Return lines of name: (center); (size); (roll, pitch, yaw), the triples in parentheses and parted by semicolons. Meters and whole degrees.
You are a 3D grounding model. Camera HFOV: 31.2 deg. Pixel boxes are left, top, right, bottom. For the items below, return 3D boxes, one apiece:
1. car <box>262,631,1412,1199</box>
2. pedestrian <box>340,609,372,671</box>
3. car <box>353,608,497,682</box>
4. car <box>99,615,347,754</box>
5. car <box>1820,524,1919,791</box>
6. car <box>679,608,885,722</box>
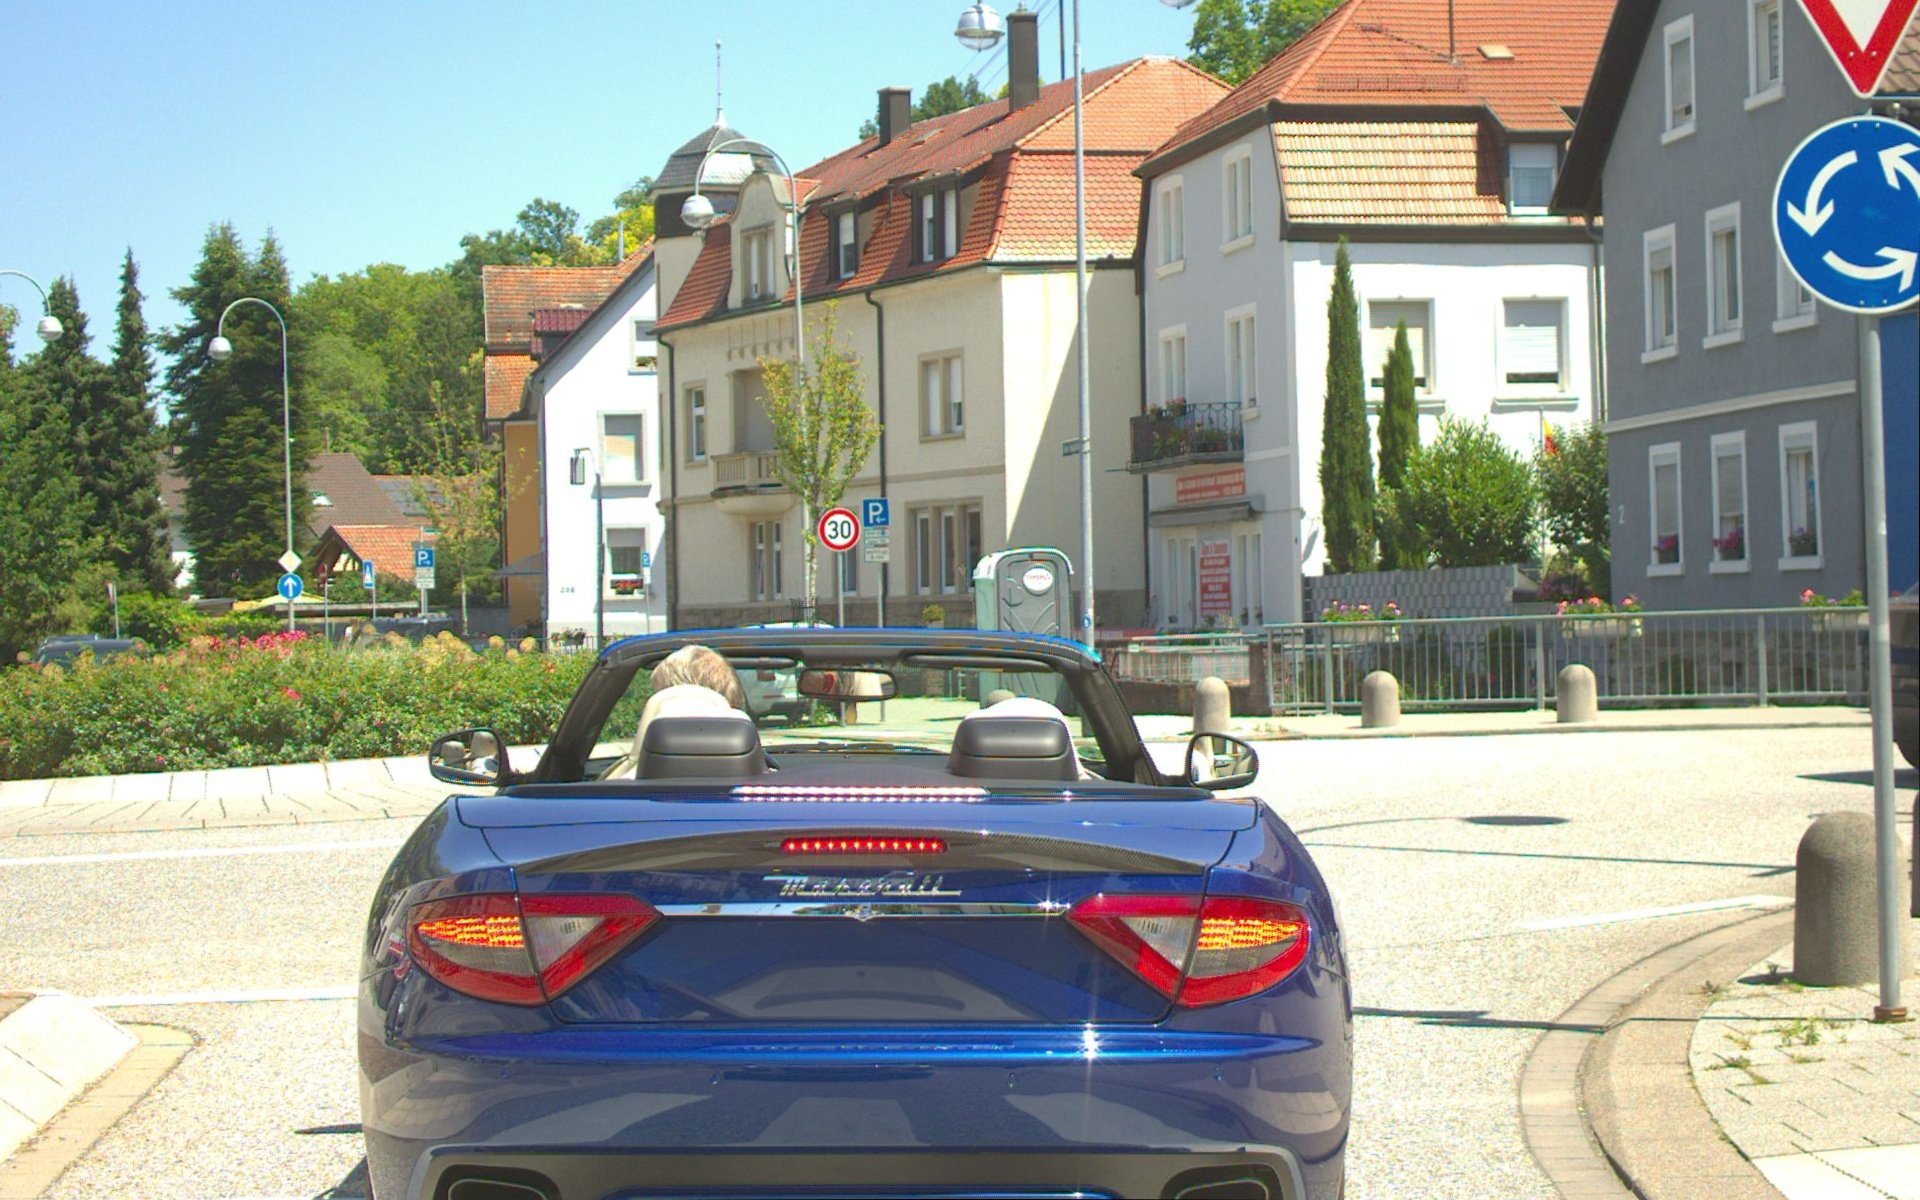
car: (-0.182, 0.770, 7.860); (1.910, 1.356, 4.285); (0, 0, 1)
pedestrian: (-15.654, 1.035, 89.092); (0.611, 1.580, 0.587); (-2, 0, -27)
car: (-12.362, 1.044, 79.284); (1.850, 1.583, 4.000); (-3, 0, -31)
car: (-9.314, 1.040, 43.786); (1.798, 1.637, 4.058); (-2, -1, 7)
car: (7.509, 0.269, 20.751); (4.248, 1.542, 1.812); (-2, 1, -24)
car: (-2.759, 1.012, 52.300); (1.918, 1.607, 4.148); (-2, -1, -20)
